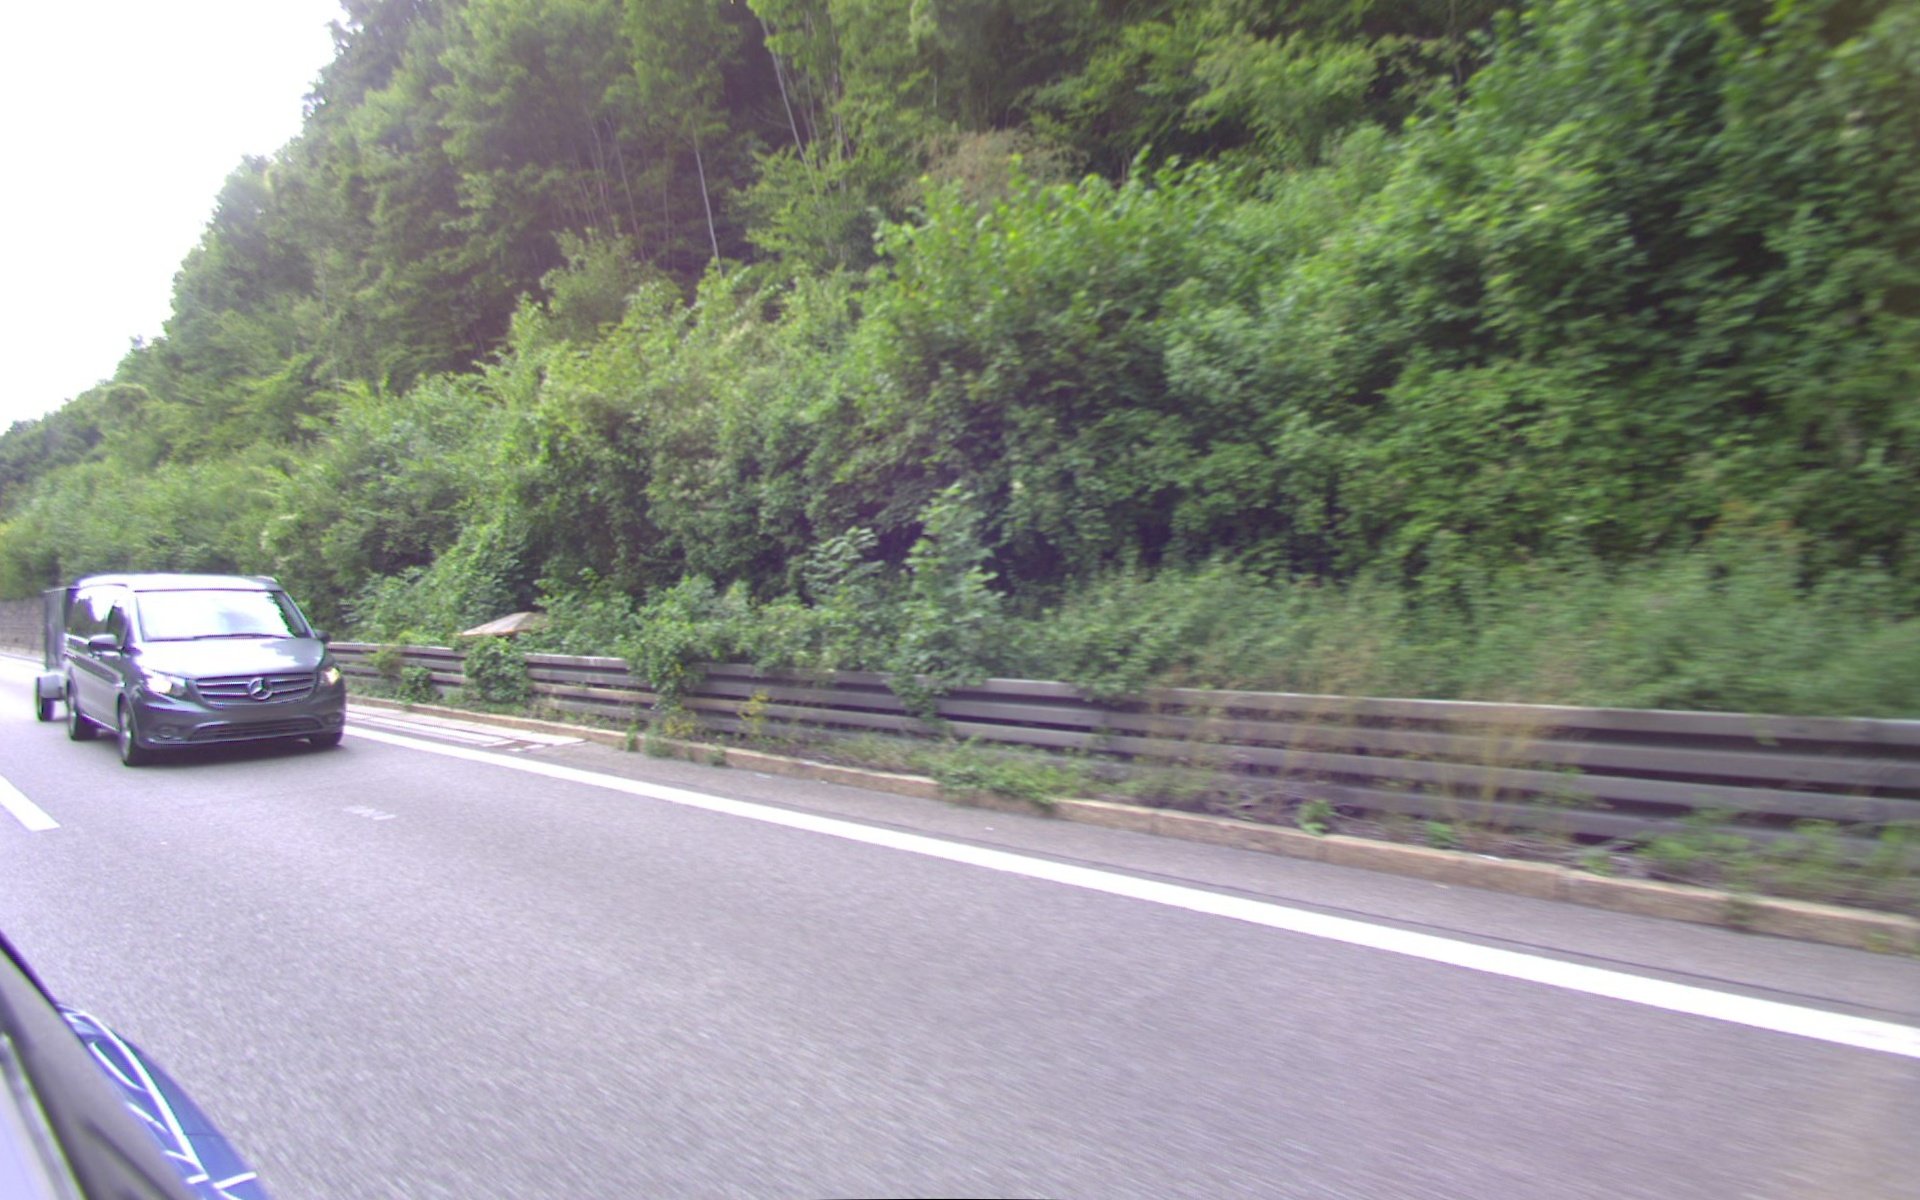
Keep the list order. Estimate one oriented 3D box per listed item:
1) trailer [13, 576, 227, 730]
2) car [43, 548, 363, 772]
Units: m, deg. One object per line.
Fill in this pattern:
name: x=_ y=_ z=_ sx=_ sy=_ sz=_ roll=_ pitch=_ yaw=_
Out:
trailer: x=-12.302 y=0.708 z=14.764 sx=3.429 sy=1.954 sz=1.950 roll=-2 pitch=-1 yaw=42
car: x=-8.997 y=0.601 z=11.787 sx=5.539 sy=2.029 sz=1.972 roll=-2 pitch=-1 yaw=42
